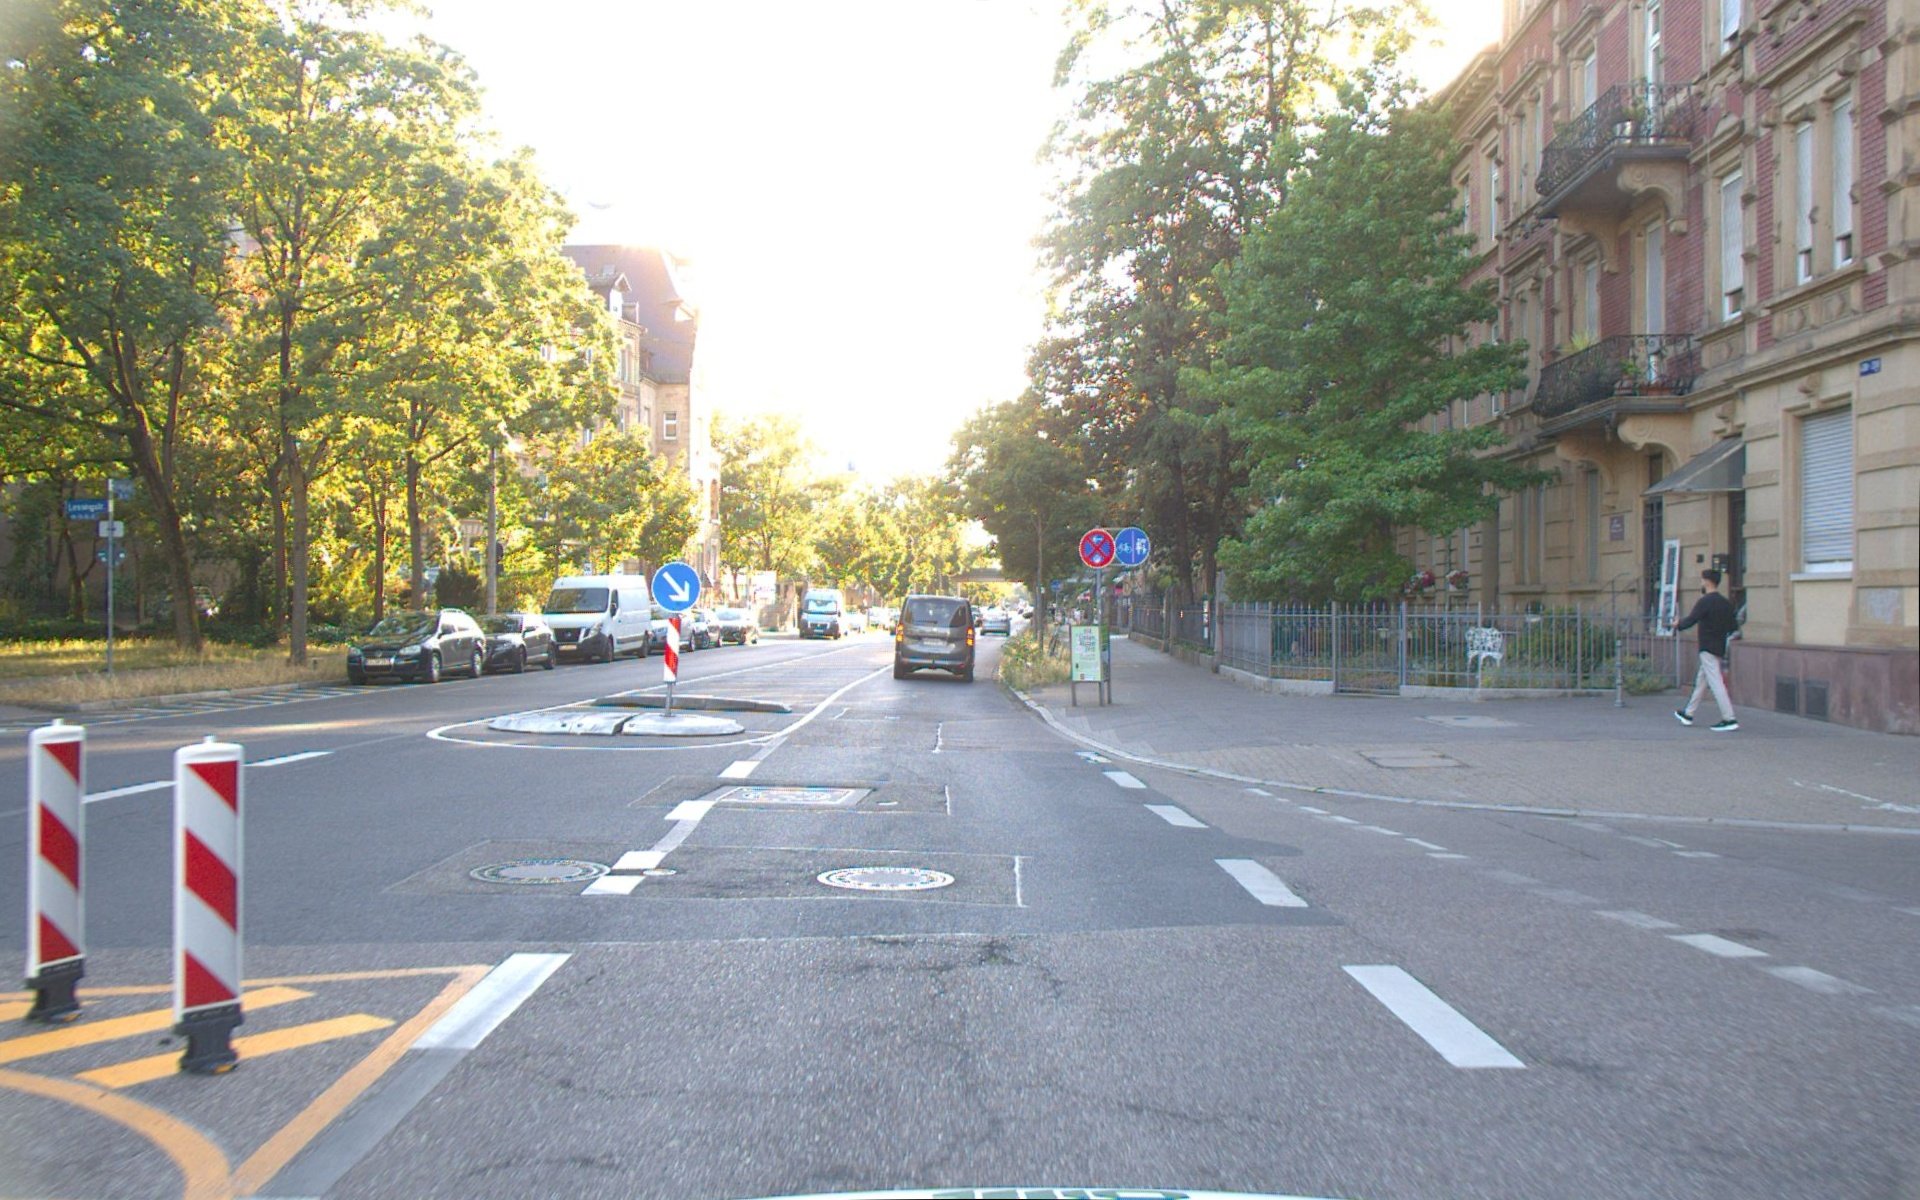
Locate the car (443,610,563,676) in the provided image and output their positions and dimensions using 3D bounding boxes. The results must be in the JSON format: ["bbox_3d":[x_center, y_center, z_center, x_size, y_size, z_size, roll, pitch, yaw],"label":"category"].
[{"bbox_3d":[-11.066,1.004,40.350,1.594,1.454,4.243,-1,0,2],"label":"car"}]

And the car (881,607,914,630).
[{"bbox_3d":[-4.011,1.199,106.360,1.729,1.426,4.546,0,0,3],"label":"car"}]

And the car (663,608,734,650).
[{"bbox_3d":[-9.628,1.028,61.123,1.700,1.471,4.626,0,0,2],"label":"car"}]

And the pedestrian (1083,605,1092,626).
[{"bbox_3d":[10.067,1.208,130.509,0.631,1.661,0.656,2,0,3],"label":"pedestrian"}]

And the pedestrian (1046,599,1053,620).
[{"bbox_3d":[8.142,0.886,150.813,0.495,1.922,0.544,2,0,-12],"label":"pedestrian"}]

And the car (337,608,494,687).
[{"bbox_3d":[-11.333,0.945,34.773,1.589,1.533,4.545,-1,0,3],"label":"car"}]

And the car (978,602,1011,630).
[{"bbox_3d":[2.112,0.944,101.392,1.952,1.662,4.001,0,0,1],"label":"car"}]

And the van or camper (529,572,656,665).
[{"bbox_3d":[-10.588,0.499,48.193,2.047,2.511,6.307,-1,0,2],"label":"van or camper"}]

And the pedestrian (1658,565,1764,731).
[{"bbox_3d":[8.546,0.532,18.845,0.730,1.809,0.831,-3,0,-1],"label":"pedestrian"}]

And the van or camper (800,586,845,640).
[{"bbox_3d":[-7.294,0.689,88.206,1.953,2.715,6.037,2,0,-1],"label":"van or camper"}]

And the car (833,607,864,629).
[{"bbox_3d":[-6.914,1.100,102.706,1.504,1.270,3.615,2,0,2],"label":"car"}]

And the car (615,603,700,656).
[{"bbox_3d":[-10.115,0.943,55.642,1.827,1.673,4.572,-1,0,2],"label":"car"}]

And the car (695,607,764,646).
[{"bbox_3d":[-9.341,1.054,67.323,1.952,1.509,4.830,0,0,2],"label":"car"}]

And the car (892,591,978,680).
[{"bbox_3d":[-0.536,0.784,38.758,1.848,1.958,3.840,-1,0,1],"label":"car"}]

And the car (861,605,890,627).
[{"bbox_3d":[-6.000,1.104,117.474,1.661,1.477,4.001,2,0,2],"label":"car"}]

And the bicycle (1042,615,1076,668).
[{"bbox_3d":[2.326,0.963,39.102,0.633,1.187,1.930,2,0,-1],"label":"bicycle"}]
